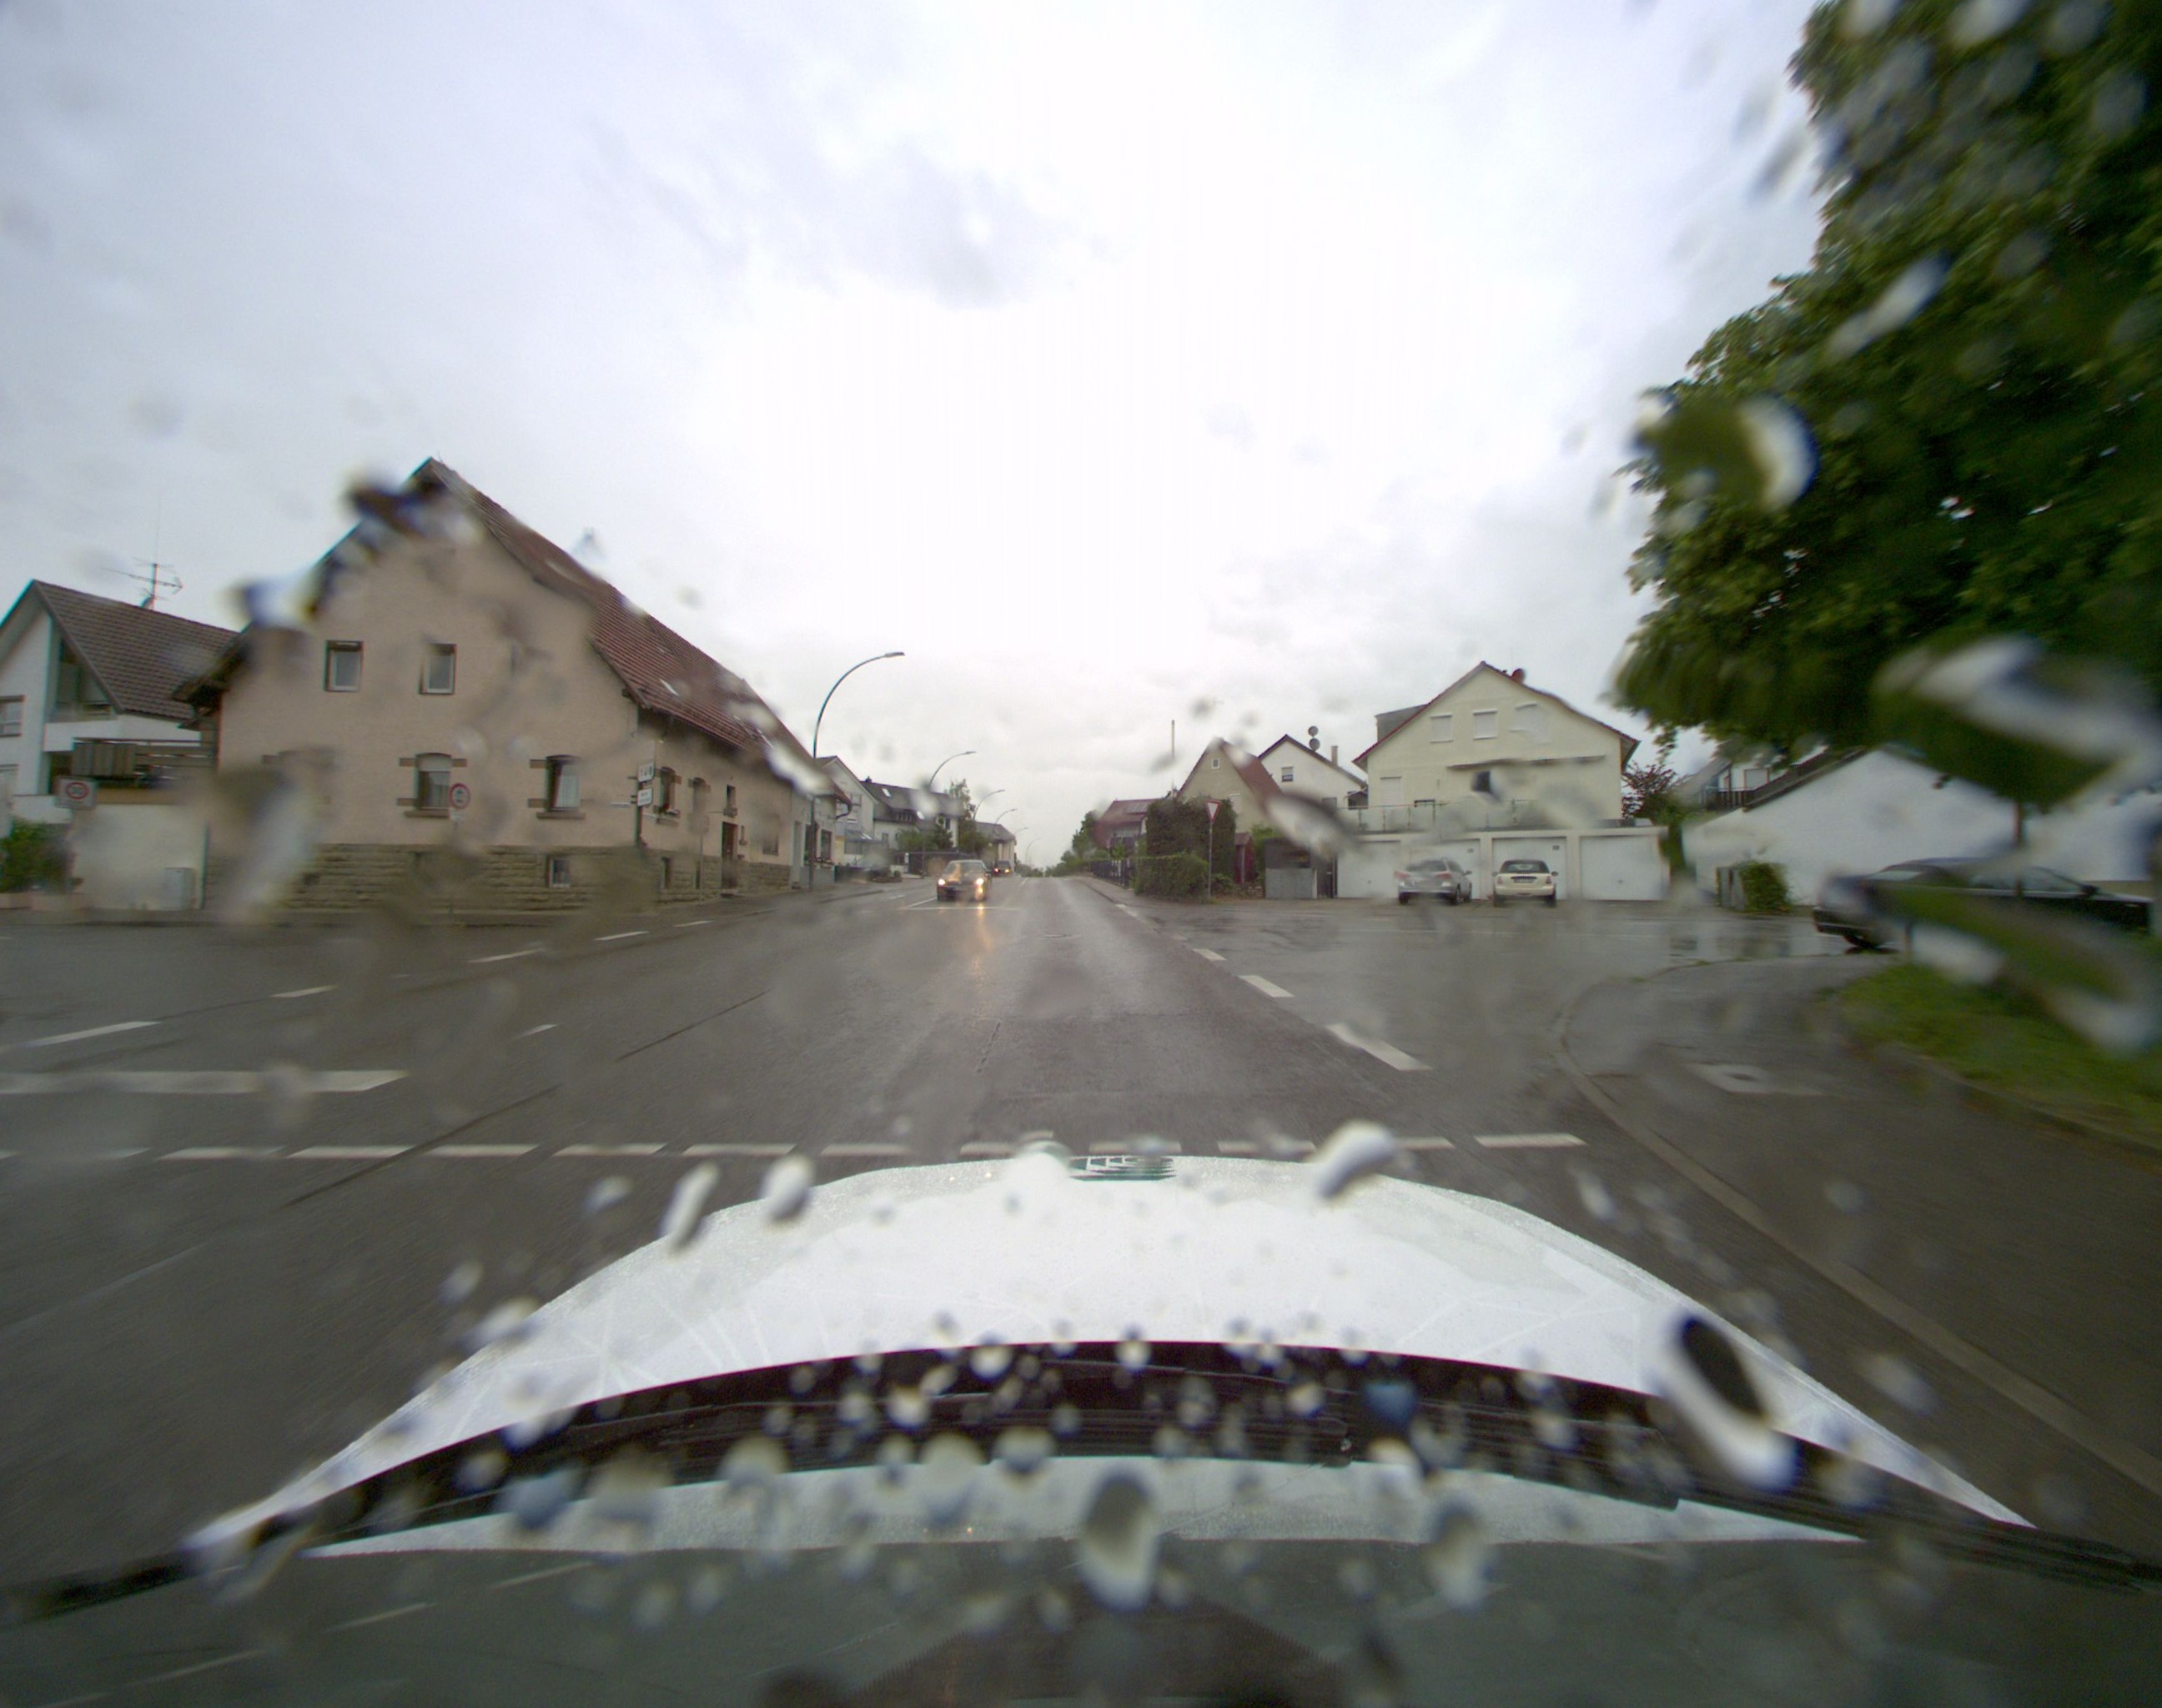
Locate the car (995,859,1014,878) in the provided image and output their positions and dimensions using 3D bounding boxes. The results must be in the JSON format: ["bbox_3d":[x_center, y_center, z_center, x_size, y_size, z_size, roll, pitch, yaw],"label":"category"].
[{"bbox_3d":[-10.986,2.106,116.901,2.087,2.649,5.916,1,-2,0],"label":"car"}]

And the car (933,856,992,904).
[{"bbox_3d":[-4.293,0.891,29.702,1.943,1.574,4.214,-1,0,-8],"label":"car"}]

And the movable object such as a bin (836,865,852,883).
[{"bbox_3d":[-13.534,1.127,46.508,0.634,1.032,0.607,-2,-1,11],"label":"movable object such as a bin"}]

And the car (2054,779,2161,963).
[{"bbox_3d":[10.464,0.074,5.902,3.953,1.455,1.864,-2,-1,20],"label":"car"}]

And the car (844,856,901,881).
[{"bbox_3d":[-13.328,0.903,52.282,1.887,1.442,3.844,1,0,16],"label":"car"}]

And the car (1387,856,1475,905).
[{"bbox_3d":[11.512,0.827,26.625,1.974,1.398,4.177,-2,0,32],"label":"car"}]

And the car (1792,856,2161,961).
[{"bbox_3d":[13.750,0.753,12.317,4.147,1.442,1.839,0,0,12],"label":"car"}]

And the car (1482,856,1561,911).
[{"bbox_3d":[13.756,0.869,25.504,1.975,1.530,4.024,-2,0,28],"label":"car"}]

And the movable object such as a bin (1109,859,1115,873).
[{"bbox_3d":[2.288,0.901,60.048,0.441,1.021,0.525,-2,-1,4],"label":"movable object such as a bin"}]

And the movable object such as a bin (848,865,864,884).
[{"bbox_3d":[-12.837,1.179,46.402,0.634,1.032,0.675,-2,-1,11],"label":"movable object such as a bin"}]

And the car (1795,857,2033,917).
[{"bbox_3d":[21.678,0.814,21.419,3.952,1.464,1.879,0,0,23],"label":"car"}]
